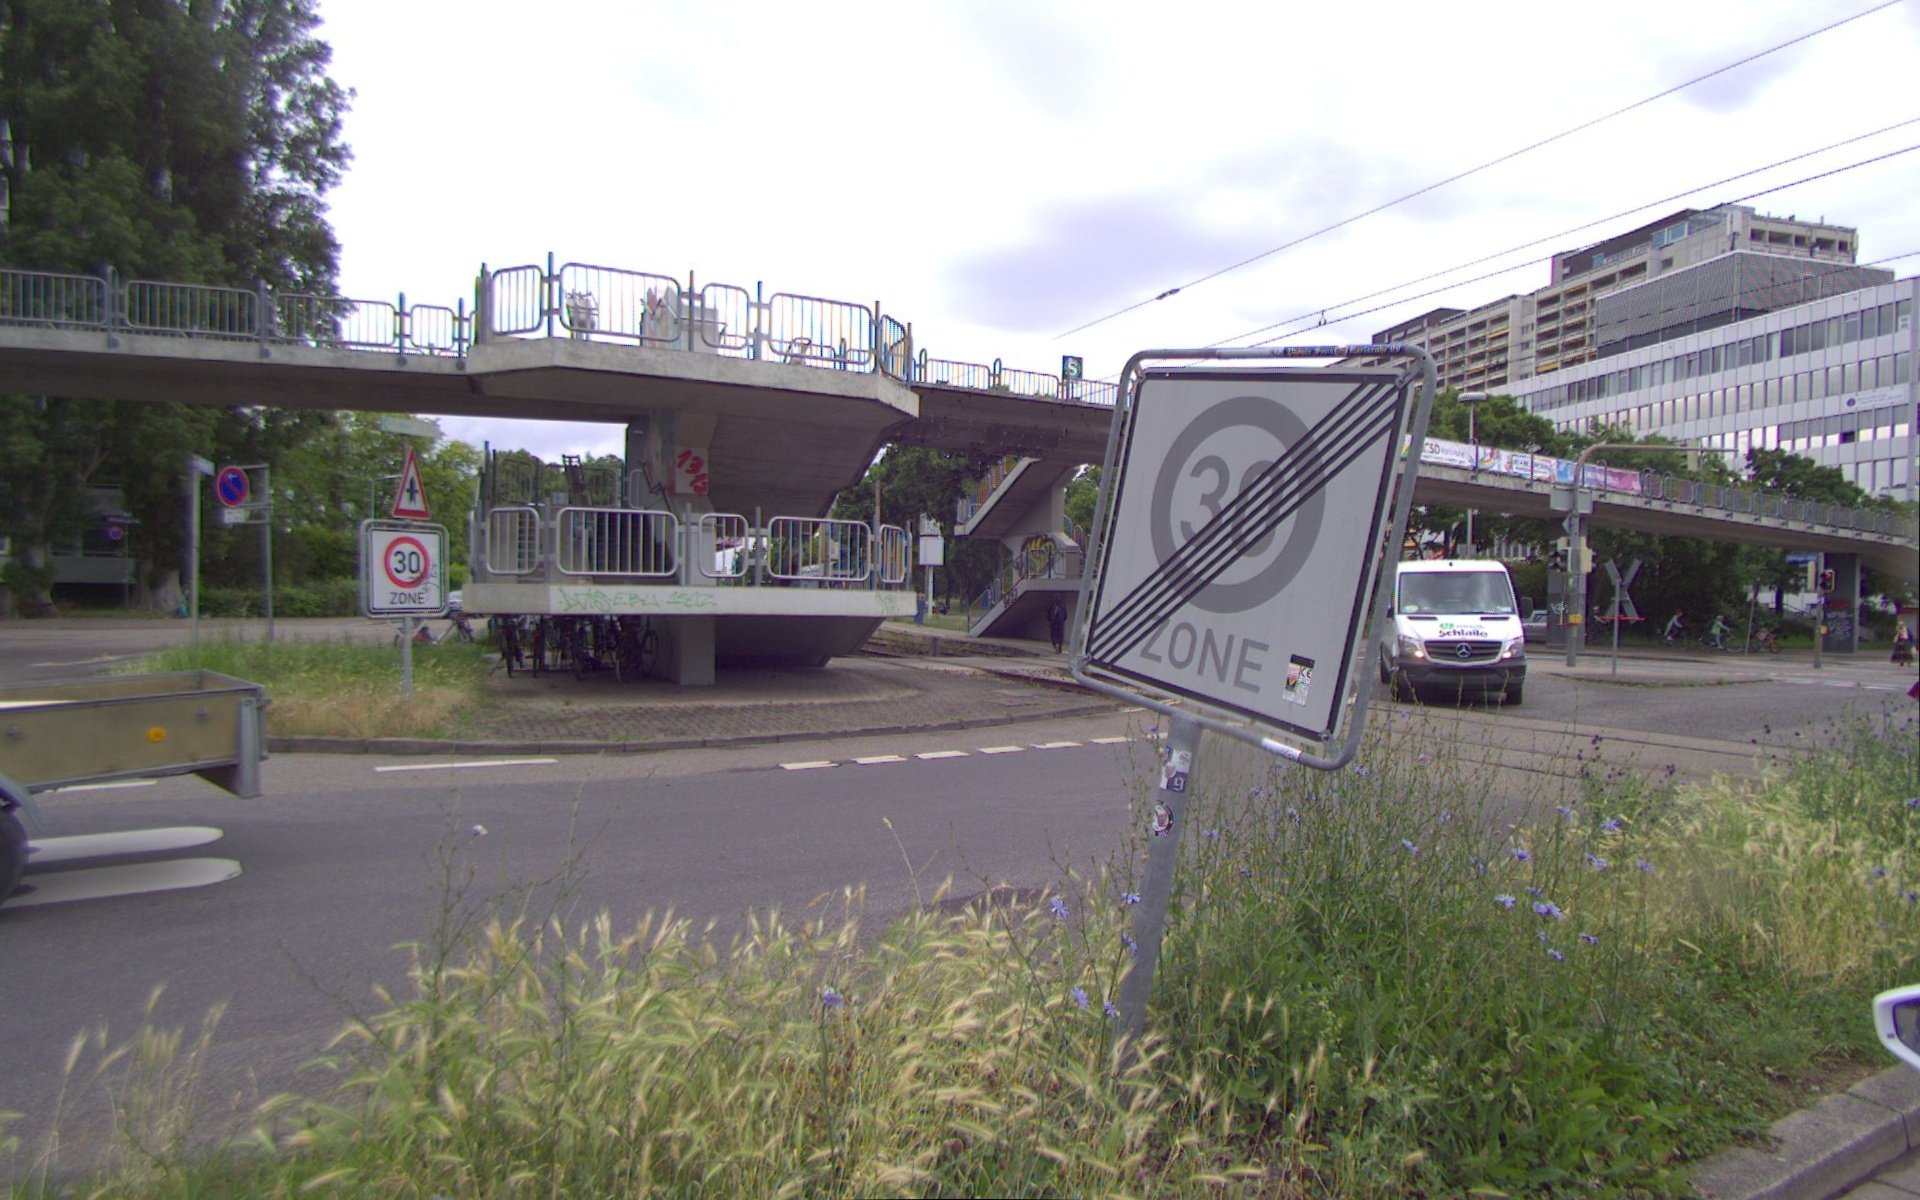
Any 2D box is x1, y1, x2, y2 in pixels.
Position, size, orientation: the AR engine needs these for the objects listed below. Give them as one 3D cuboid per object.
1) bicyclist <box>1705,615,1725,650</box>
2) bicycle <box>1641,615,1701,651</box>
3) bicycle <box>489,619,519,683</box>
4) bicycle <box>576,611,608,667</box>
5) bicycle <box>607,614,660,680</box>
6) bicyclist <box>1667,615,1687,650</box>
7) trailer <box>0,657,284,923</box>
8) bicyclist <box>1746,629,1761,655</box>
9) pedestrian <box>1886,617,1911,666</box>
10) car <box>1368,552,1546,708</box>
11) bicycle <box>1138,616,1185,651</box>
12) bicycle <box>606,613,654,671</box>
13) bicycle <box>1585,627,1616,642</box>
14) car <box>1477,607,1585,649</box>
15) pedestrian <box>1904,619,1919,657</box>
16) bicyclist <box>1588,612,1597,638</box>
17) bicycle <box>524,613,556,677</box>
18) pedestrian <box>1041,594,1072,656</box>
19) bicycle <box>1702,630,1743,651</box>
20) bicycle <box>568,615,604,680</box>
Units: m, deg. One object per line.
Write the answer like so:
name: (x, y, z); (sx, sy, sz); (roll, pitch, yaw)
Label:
bicyclist: (35.671, 1.533, 47.443); (0.525, 1.666, 0.562); (2, 0, -29)
bicycle: (34.643, 1.580, 48.991); (2.327, 1.647, 0.526); (2, 0, 37)
bicycle: (-6.962, 0.755, 15.352); (0.389, 0.897, 1.632); (1, 0, -24)
bicycle: (-6.403, 0.660, 17.443); (0.389, 0.897, 1.632); (1, 0, -24)
bicycle: (-4.865, 0.682, 15.033); (0.387, 0.897, 1.741); (1, 0, -6)
bicyclist: (34.865, 1.586, 48.864); (0.738, 1.647, 0.526); (2, 0, 36)
trailer: (-5.019, 0.803, 4.117); (1.549, 0.999, 3.448); (2, -1, 41)
bicyclist: (37.381, 1.987, 47.312); (0.372, 1.197, 0.403); (0, 1, -28)
pedestrian: (33.394, 1.467, 35.745); (0.402, 1.714, 0.612); (1, 1, -43)
car: (8.581, 0.449, 17.851); (2.098, 2.323, 5.208); (1, 0, 19)
bicycle: (5.724, 0.941, 28.658); (0.368, 0.934, 2.029); (1, 0, -18)
bicycle: (-5.645, 0.695, 17.133); (0.390, 0.897, 1.628); (1, 0, -32)
bicycle: (32.539, 1.742, 51.036); (1.276, 0.701, 0.289); (2, 1, 35)
car: (26.437, 1.261, 46.541); (4.141, 1.758, 1.622); (1, 1, 37)
pedestrian: (41.303, 1.640, 43.498); (0.572, 1.600, 0.777); (2, 0, 42)
bicyclist: (32.280, 1.289, 51.262); (0.378, 1.321, 0.277); (2, 1, 37)
bicycle: (-6.433, 0.668, 15.353); (0.389, 0.897, 1.632); (1, 0, -24)
pedestrian: (2.657, 0.681, 27.699); (0.593, 1.664, 0.659); (1, 1, -25)
bicycle: (35.754, 1.870, 47.099); (2.494, 0.938, 0.628); (1, 1, -31)
bicycle: (-5.665, 0.695, 15.178); (0.389, 0.897, 1.632); (1, 0, -24)
